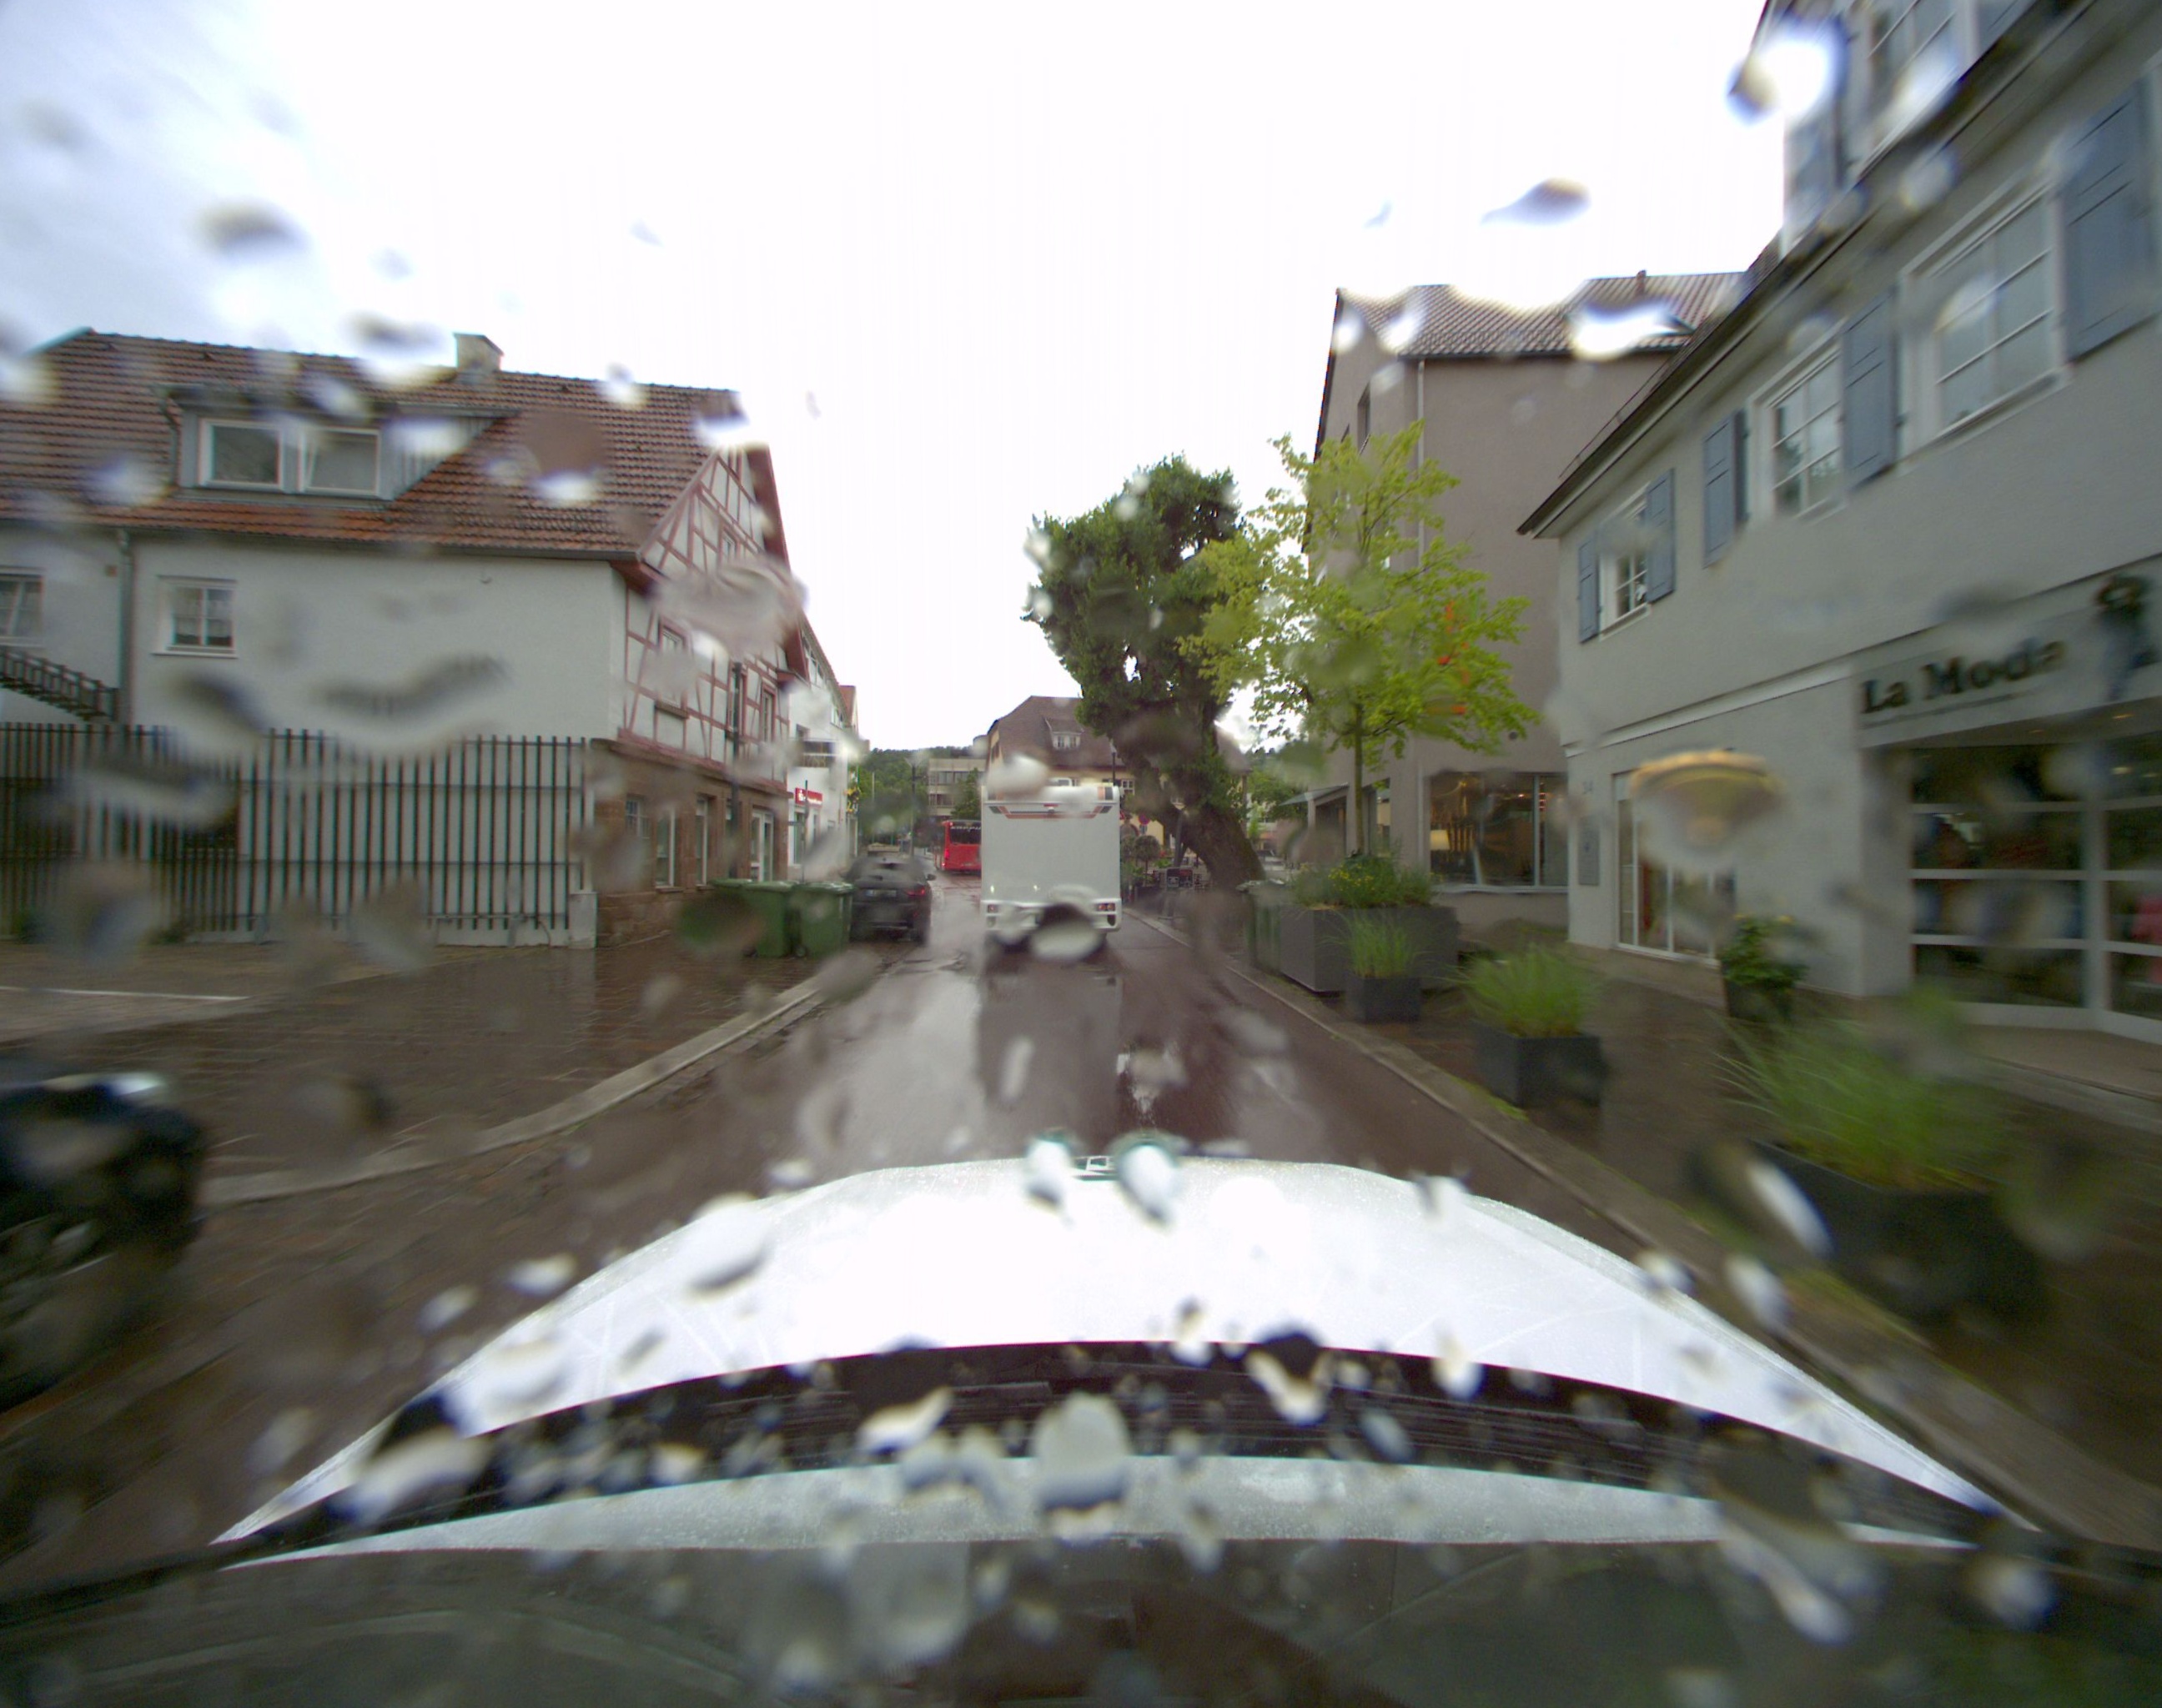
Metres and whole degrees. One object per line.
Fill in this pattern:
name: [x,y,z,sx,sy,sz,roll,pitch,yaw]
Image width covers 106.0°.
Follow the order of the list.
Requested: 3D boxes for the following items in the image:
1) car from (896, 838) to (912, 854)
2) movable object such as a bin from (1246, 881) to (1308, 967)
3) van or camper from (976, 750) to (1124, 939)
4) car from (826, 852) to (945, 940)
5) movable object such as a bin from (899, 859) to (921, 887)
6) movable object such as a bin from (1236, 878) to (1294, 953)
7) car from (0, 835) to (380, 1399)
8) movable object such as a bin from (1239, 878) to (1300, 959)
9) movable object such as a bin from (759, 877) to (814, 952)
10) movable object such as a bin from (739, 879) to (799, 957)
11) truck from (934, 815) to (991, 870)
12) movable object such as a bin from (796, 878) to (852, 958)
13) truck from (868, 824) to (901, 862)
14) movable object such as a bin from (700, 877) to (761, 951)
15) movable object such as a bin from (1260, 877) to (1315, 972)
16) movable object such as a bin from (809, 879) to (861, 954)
car: [-24.388,-1.120,112.122,1.997,2.014,3.979,0,-1,-15]
movable object such as a bin: [2.606,0.913,10.859,0.690,1.102,0.561,0,-1,0]
van or camper: [-0.851,-0.082,15.923,2.324,2.919,6.377,0,-1,-7]
car: [-3.780,0.739,16.246,1.994,1.494,3.986,1,0,-11]
movable object such as a bin: [-6.625,0.728,31.539,0.819,1.051,0.697,0,-1,-13]
movable object such as a bin: [2.730,0.900,12.120,0.726,1.080,0.576,0,-1,0]
car: [-3.775,0.671,1.246,1.988,1.472,3.997,1,0,-2]
movable object such as a bin: [2.662,0.897,11.535,0.726,1.102,0.561,0,-1,0]
movable object such as a bin: [-4.564,0.918,12.657,0.629,1.123,0.732,0,-1,-5]
movable object such as a bin: [-4.529,0.916,11.860,0.629,1.052,0.732,0,2,-5]
truck: [-6.935,-0.540,46.966,2.466,2.939,6.164,0,-1,-16]
movable object such as a bin: [-3.739,0.911,11.887,0.629,1.113,0.732,0,-1,-5]
truck: [-15.289,-0.784,63.044,2.285,2.758,5.538,0,-1,-16]
movable object such as a bin: [-5.222,0.875,12.159,0.629,1.052,0.732,0,-1,-5]
movable object such as a bin: [2.600,0.877,10.271,0.542,1.156,0.576,0,-1,0]
movable object such as a bin: [-3.799,0.948,12.637,0.629,1.123,0.732,0,-1,-5]
